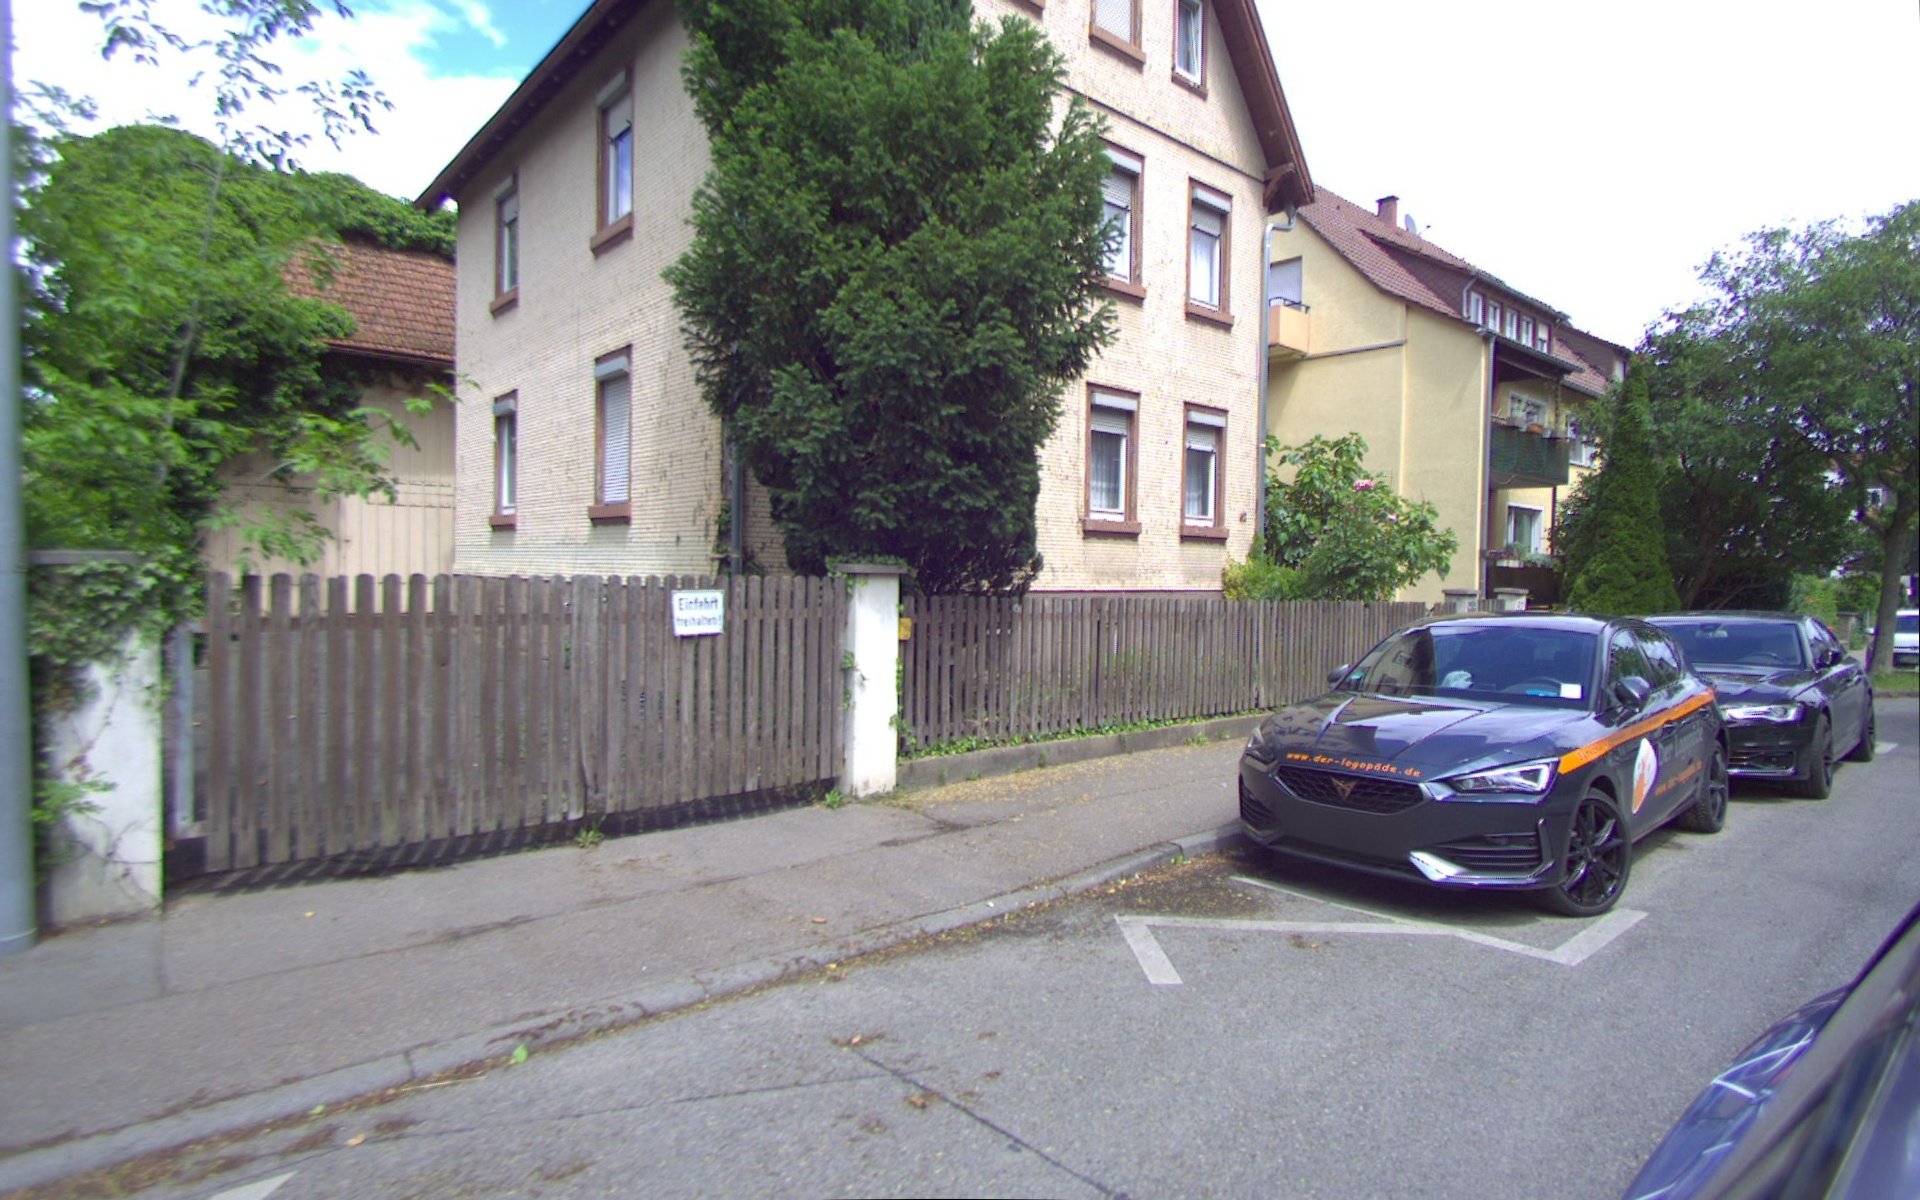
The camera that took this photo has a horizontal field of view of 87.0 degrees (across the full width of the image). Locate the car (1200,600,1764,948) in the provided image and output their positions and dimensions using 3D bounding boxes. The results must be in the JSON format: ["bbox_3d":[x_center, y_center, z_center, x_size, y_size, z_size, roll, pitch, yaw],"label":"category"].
[{"bbox_3d":[3.545,0.726,6.410,4.434,1.435,1.826,0,0,-43],"label":"car"}]

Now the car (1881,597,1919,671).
[{"bbox_3d":[21.422,0.726,22.029,3.713,1.526,1.625,0,2,-41],"label":"car"}]

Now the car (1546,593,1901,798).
[{"bbox_3d":[7.343,0.689,9.517,4.803,1.463,1.804,0,-1,-42],"label":"car"}]

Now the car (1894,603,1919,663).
[{"bbox_3d":[25.358,0.830,25.588,4.506,1.441,1.998,0,2,-40],"label":"car"}]
